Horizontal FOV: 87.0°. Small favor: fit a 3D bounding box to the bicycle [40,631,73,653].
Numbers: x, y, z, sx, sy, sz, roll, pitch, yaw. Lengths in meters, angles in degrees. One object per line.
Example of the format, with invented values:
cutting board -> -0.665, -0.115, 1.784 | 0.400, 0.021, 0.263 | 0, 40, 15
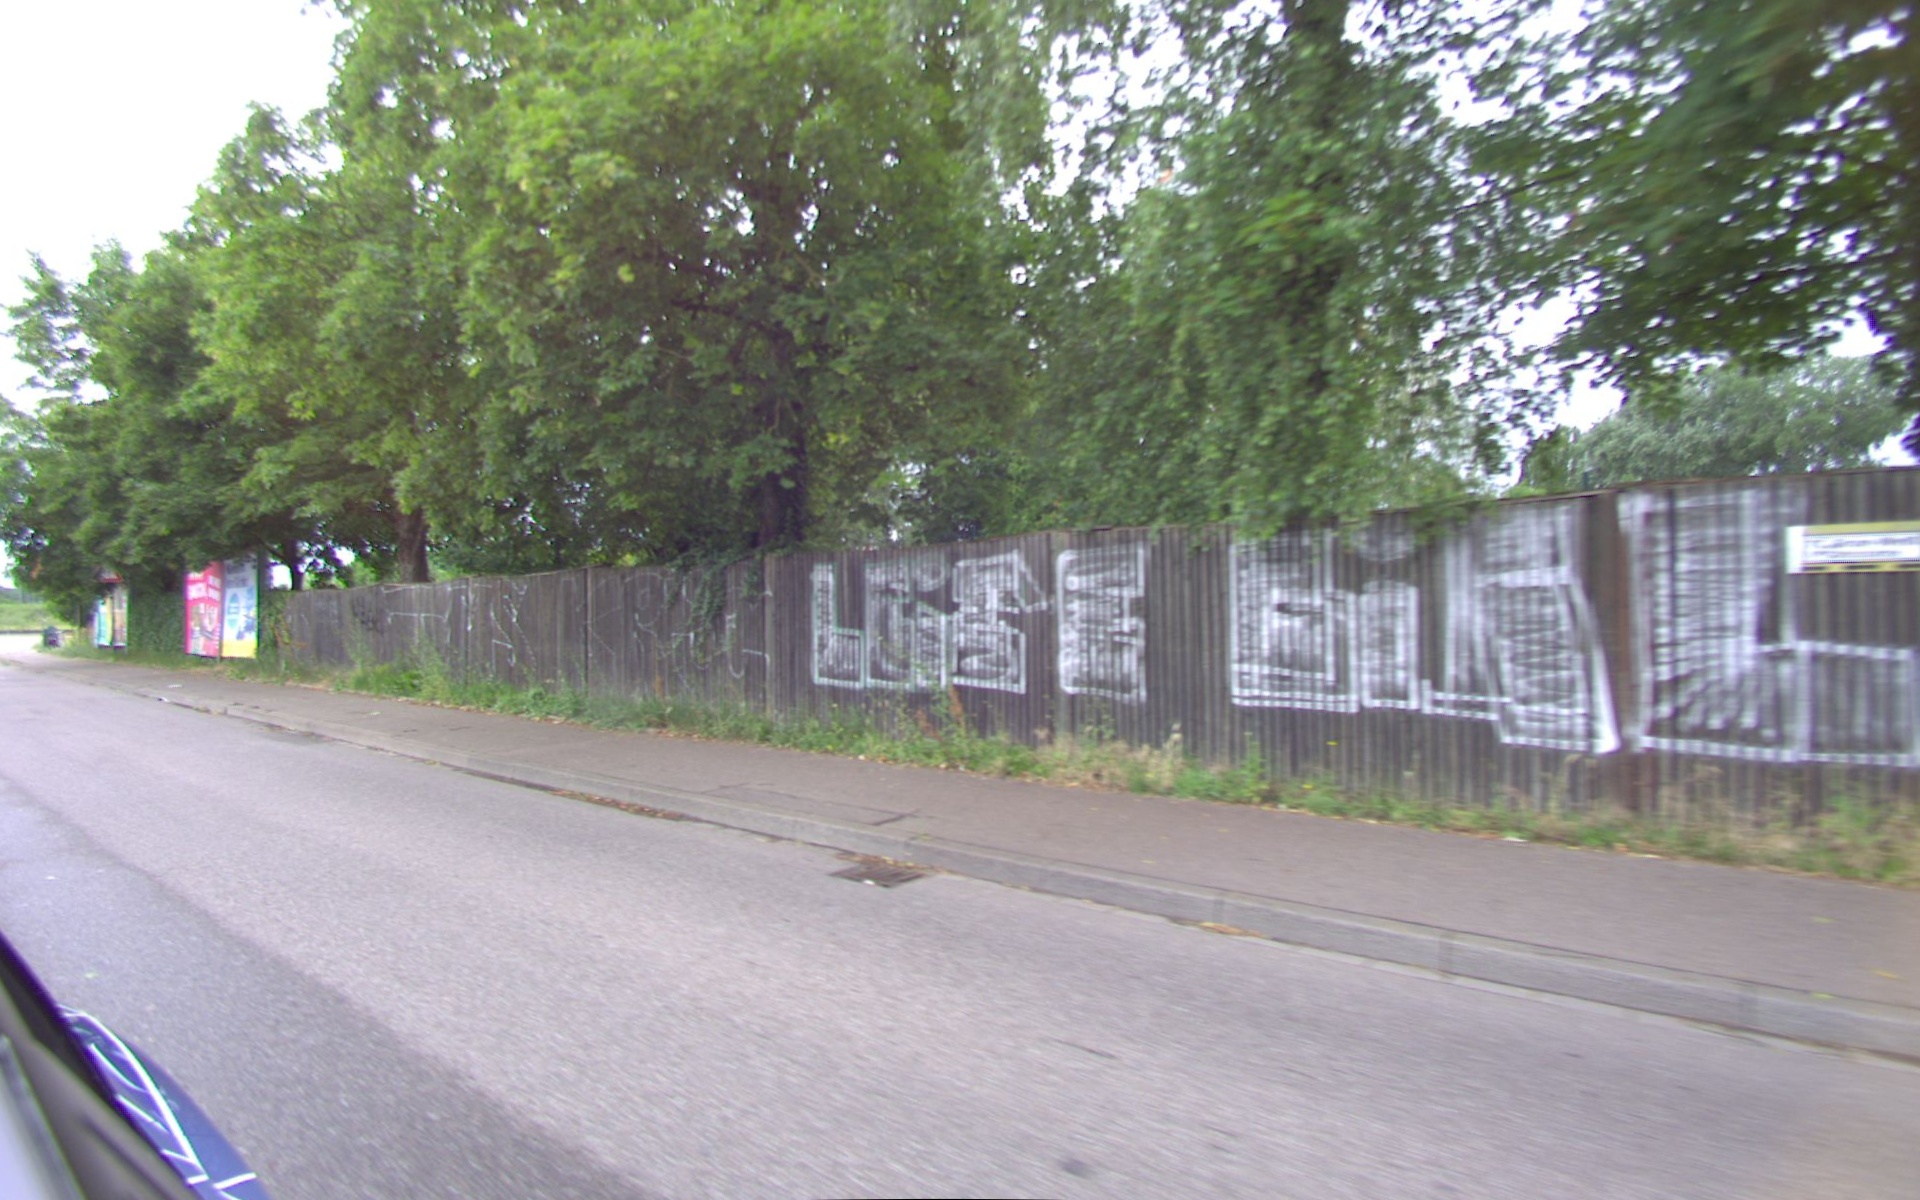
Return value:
bicycle -> -43.949, 2.032, 49.251 | 0.574, 1.006, 1.776 | -3, 1, -22
